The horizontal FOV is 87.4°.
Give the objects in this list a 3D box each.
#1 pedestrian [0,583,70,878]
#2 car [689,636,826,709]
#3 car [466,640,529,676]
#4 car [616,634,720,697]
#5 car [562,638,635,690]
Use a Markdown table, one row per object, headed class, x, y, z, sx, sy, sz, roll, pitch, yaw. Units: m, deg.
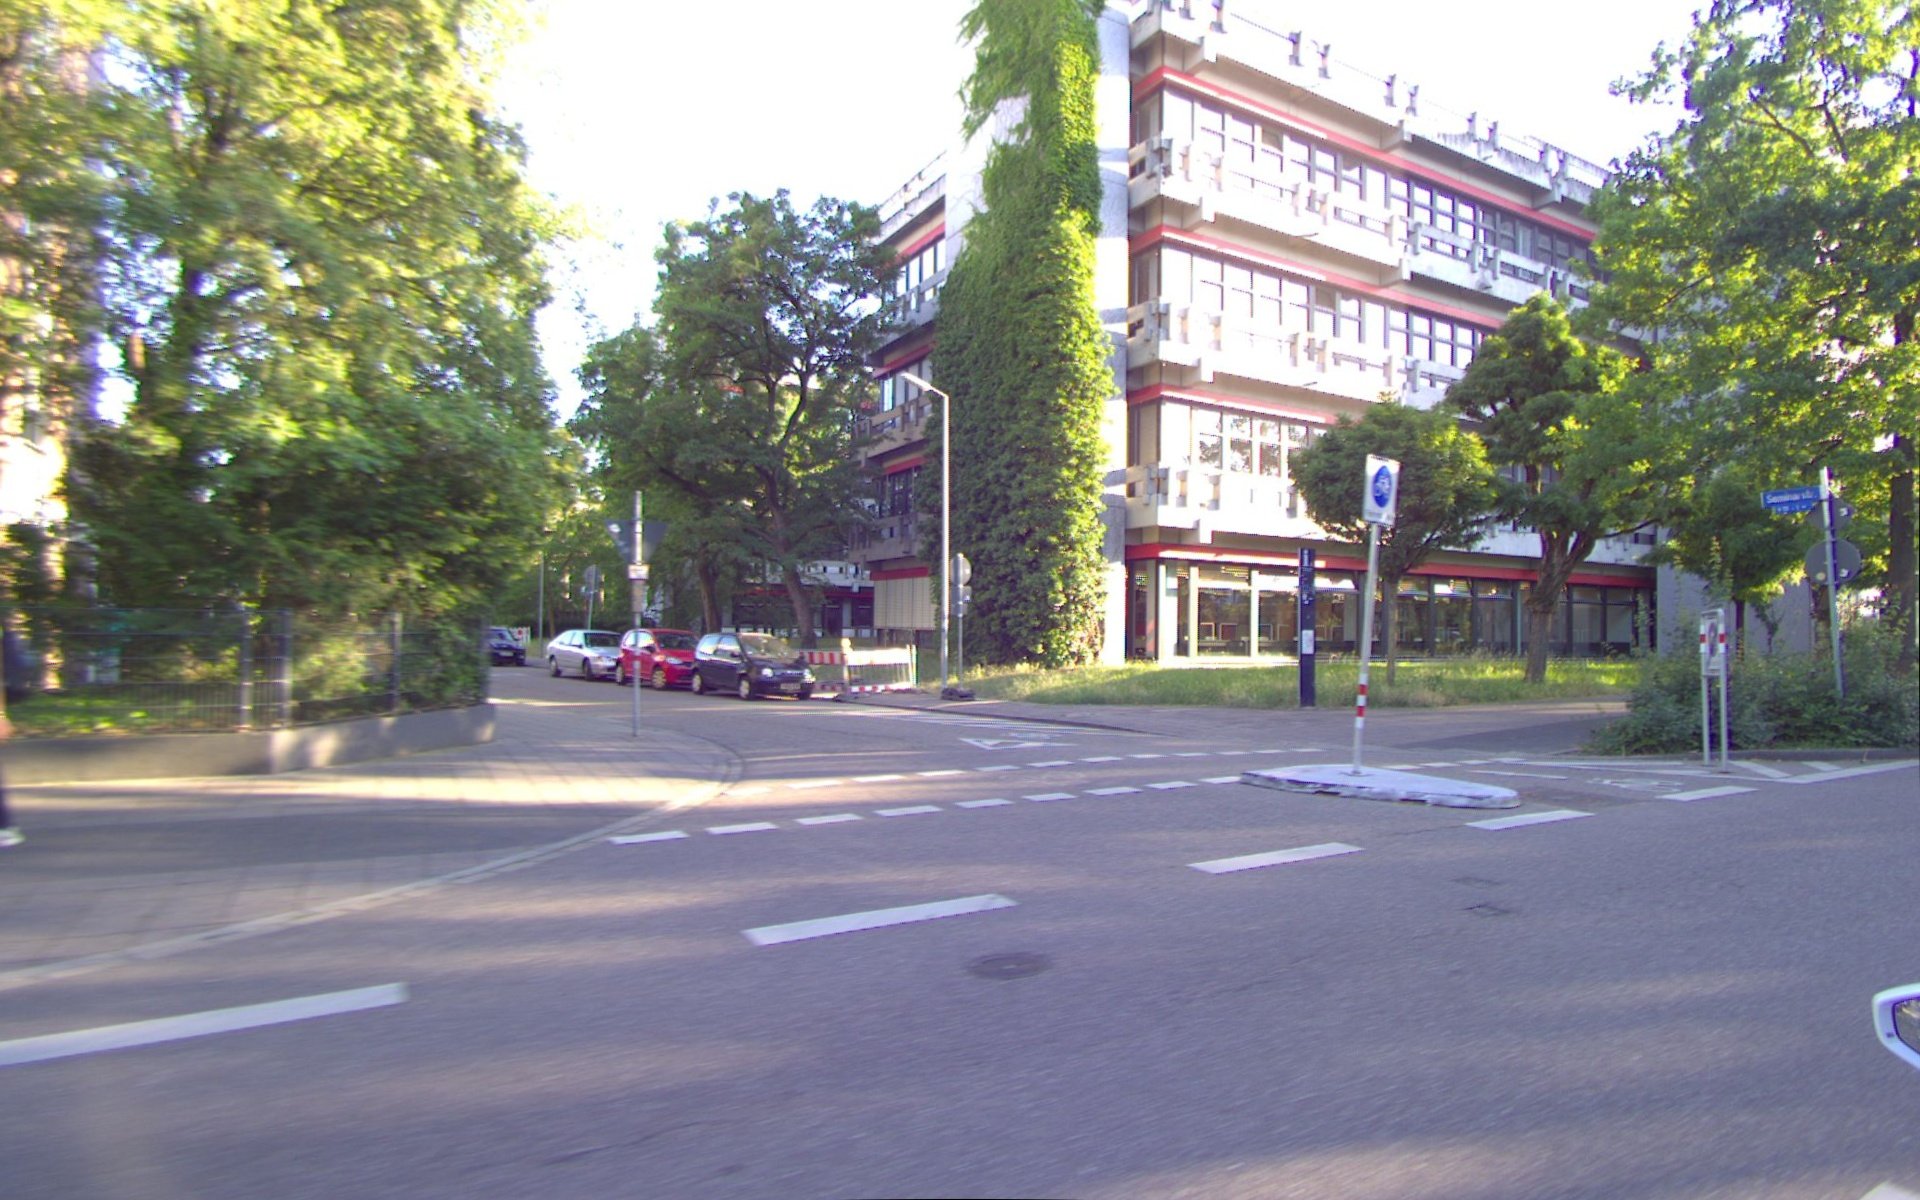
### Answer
| class | x | y | z | sx | sy | sz | roll | pitch | yaw |
| --- | --- | --- | --- | --- | --- | --- | --- | --- | --- |
| pedestrian | -5.821 | 0.750 | 5.881 | 0.704 | 1.685 | 0.764 | -1 | -1 | 37 |
| car | -4.575 | 1.579 | 22.494 | 1.671 | 1.476 | 3.239 | 4 | -4 | -39 |
| car | -17.130 | 2.108 | 37.184 | 1.487 | 1.238 | 2.870 | 1 | -2 | -39 |
| car | -7.407 | 1.626 | 25.342 | 1.363 | 1.476 | 3.239 | 4 | -4 | -38 |
| car | -10.178 | 1.777 | 28.193 | 1.090 | 1.386 | 2.699 | 4 | -3 | -38 |
